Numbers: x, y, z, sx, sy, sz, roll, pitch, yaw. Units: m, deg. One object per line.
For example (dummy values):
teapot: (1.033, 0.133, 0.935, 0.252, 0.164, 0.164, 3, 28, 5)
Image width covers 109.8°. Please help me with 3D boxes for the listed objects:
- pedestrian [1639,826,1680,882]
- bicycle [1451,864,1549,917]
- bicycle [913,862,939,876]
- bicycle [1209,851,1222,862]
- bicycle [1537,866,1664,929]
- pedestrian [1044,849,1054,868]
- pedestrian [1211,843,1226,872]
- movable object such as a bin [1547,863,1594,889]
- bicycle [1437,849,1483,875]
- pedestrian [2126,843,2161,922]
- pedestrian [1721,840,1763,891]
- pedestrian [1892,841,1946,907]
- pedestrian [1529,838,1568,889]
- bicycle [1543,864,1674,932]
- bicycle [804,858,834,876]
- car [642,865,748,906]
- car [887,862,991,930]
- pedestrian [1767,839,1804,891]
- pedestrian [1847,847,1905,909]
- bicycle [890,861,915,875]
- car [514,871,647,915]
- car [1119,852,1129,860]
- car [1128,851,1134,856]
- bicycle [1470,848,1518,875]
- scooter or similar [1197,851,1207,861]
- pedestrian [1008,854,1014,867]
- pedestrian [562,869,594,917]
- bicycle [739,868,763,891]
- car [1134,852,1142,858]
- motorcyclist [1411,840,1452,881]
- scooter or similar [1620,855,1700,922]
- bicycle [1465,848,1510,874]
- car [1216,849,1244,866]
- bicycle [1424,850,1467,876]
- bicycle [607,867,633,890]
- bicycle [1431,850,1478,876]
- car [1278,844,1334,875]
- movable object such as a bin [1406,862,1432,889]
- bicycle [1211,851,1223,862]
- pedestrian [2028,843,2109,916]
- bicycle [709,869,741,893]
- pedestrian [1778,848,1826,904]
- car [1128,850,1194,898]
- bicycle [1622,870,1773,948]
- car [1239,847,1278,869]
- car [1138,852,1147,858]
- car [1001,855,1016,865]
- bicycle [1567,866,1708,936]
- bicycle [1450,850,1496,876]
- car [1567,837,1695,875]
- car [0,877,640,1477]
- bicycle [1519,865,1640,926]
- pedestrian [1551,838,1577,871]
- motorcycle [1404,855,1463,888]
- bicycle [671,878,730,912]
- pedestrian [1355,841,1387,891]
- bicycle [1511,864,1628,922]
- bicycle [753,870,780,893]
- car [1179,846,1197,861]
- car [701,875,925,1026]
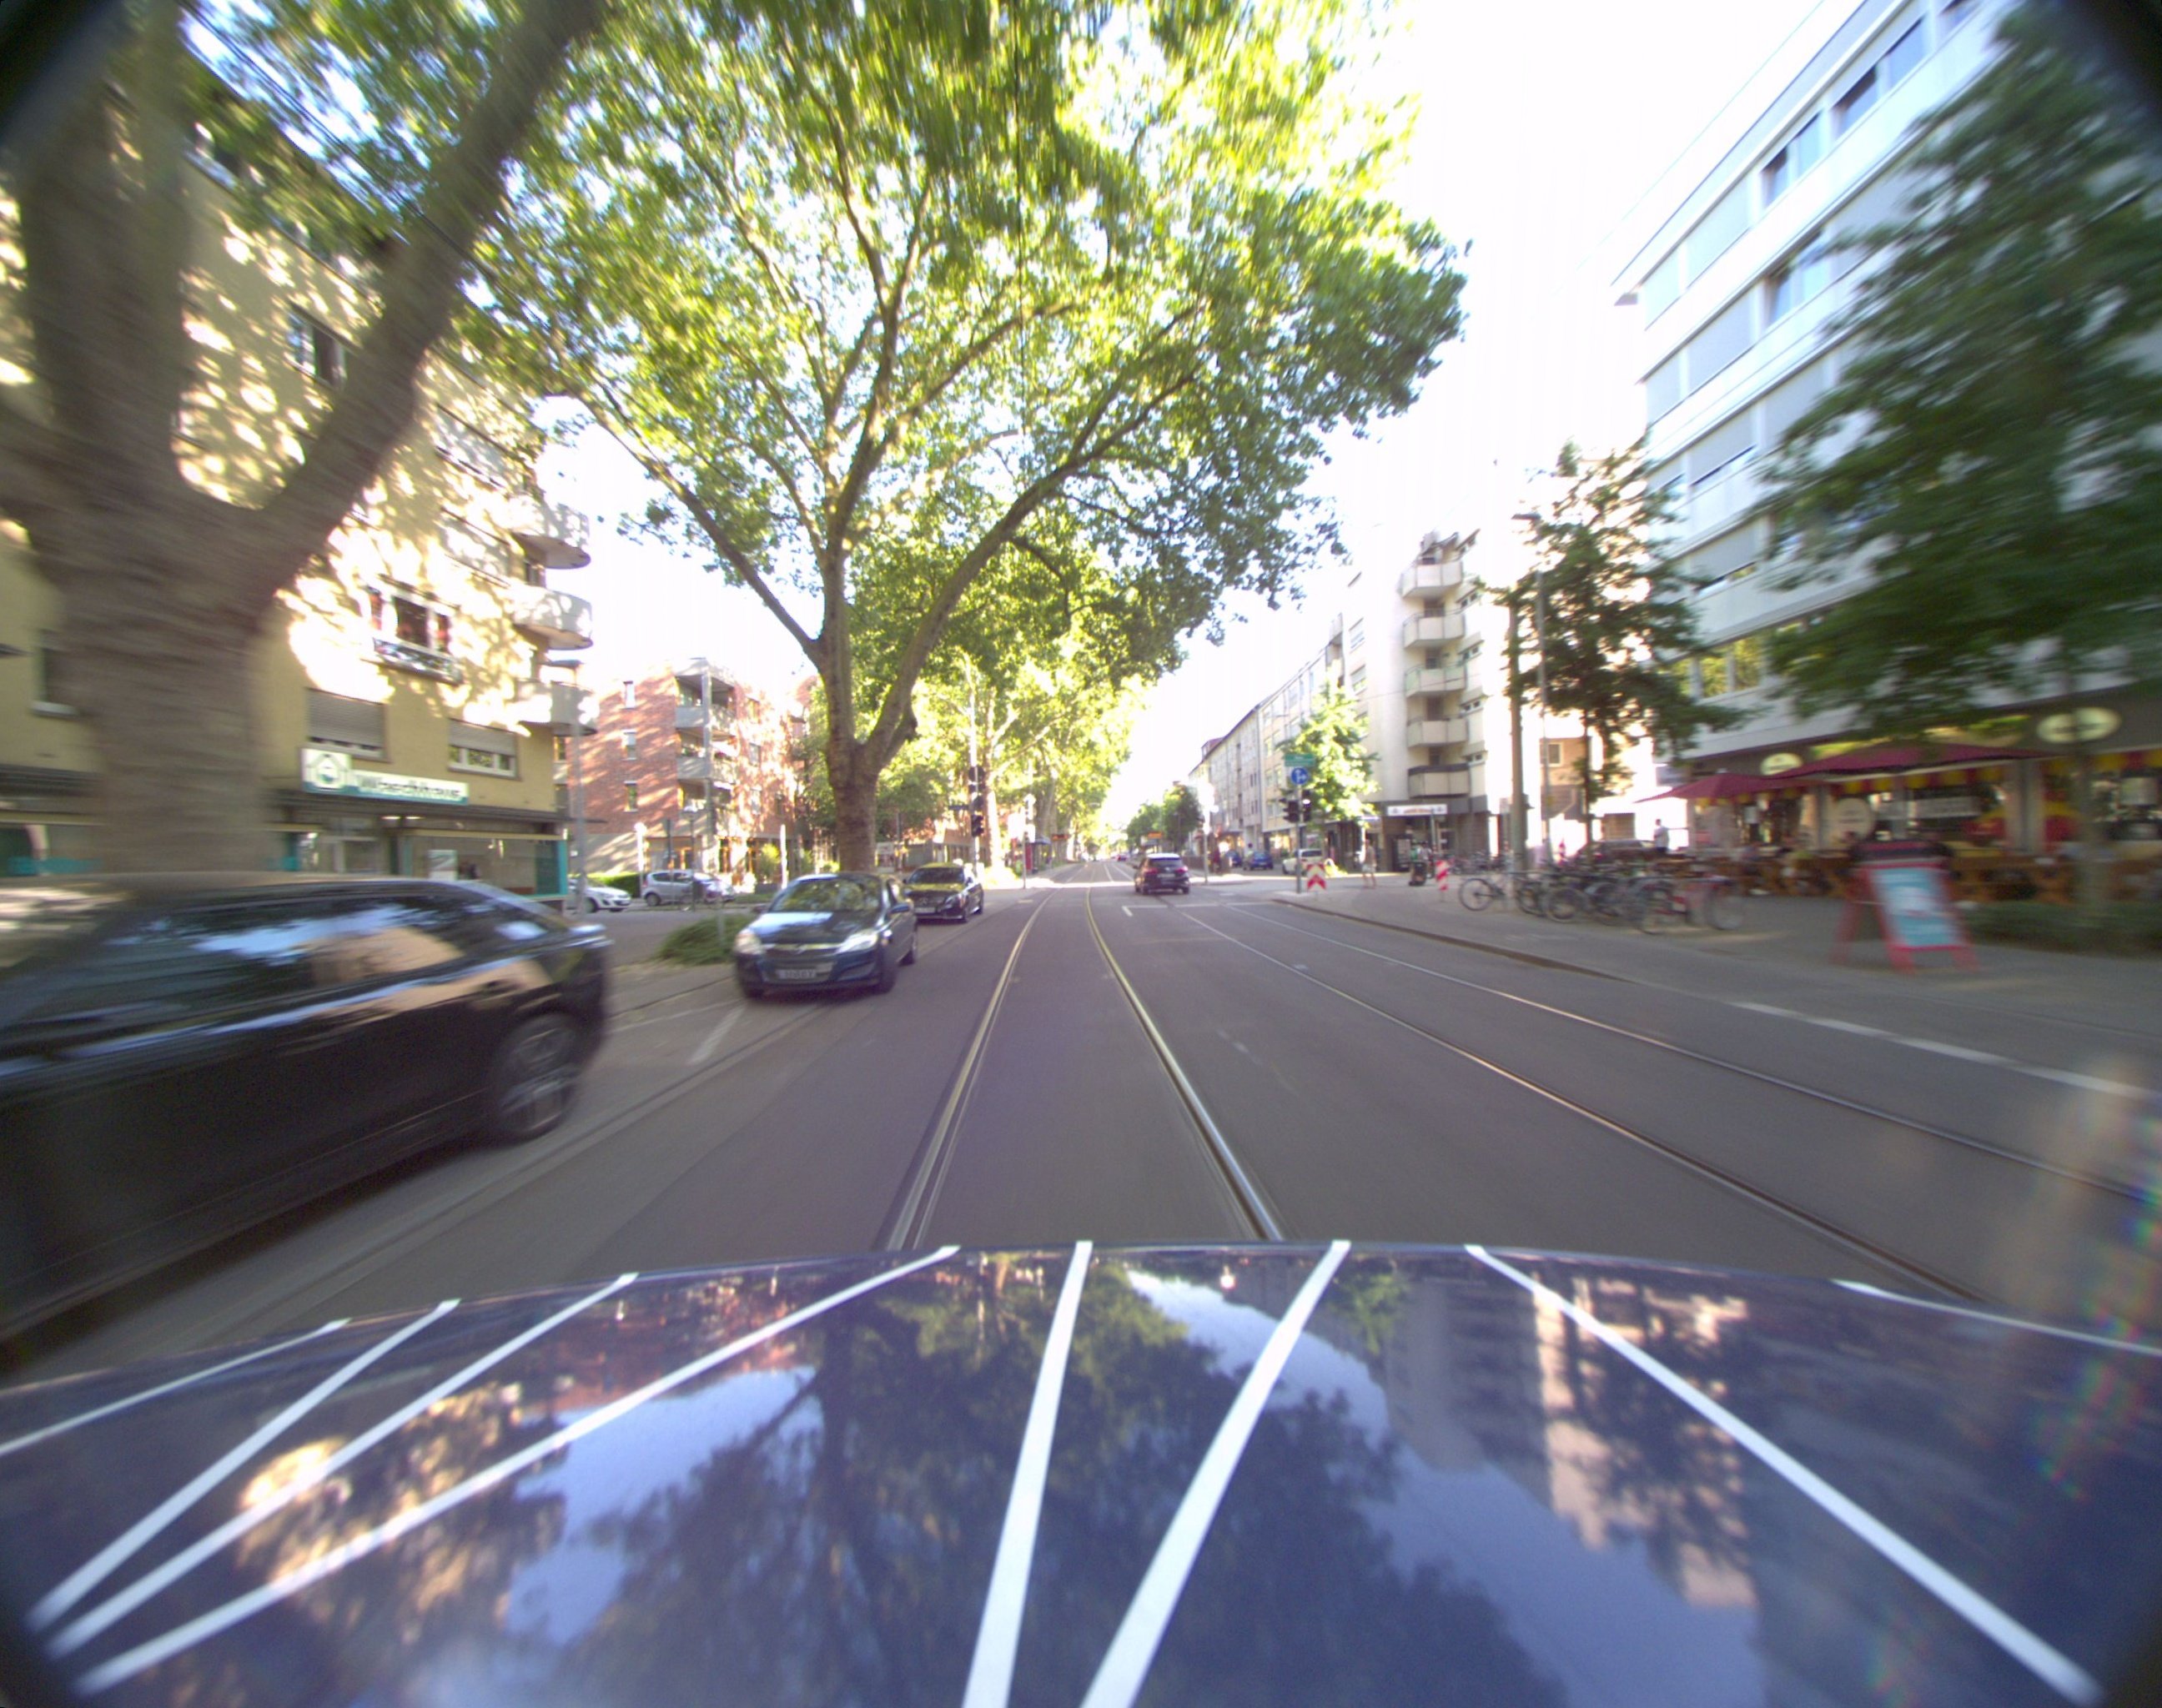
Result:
pedestrian: (17.555, -0.009, 23.074, 0.770, 1.650, 0.748, -2, 1, -31)
bicycle: (8.897, 0.762, 16.162, 1.695, 1.001, 0.658, -3, 1, -3)
bicycle: (-12.898, 1.209, 63.303, 2.036, 1.150, 0.572, 0, 1, 2)
bicycle: (15.065, 0.303, 85.127, 0.561, 1.150, 2.028, -2, 0, -14)
bicycle: (9.261, 0.762, 13.580, 1.834, 1.001, 0.658, -3, 1, -3)
pedestrian: (-2.775, 0.370, 65.865, 0.768, 1.650, 0.917, -1, 1, -2)
pedestrian: (7.720, 0.208, 42.720, 0.655, 1.576, 0.772, -2, 1, 2)
movable object such as a bin: (15.722, 0.709, 24.426, 1.197, 0.753, 0.665, -3, 1, -20)
bicycle: (17.071, 0.374, 34.276, 1.785, 1.150, 0.573, -1, 1, 32)
pedestrian: (16.678, 0.430, 11.546, 0.674, 1.191, 0.655, -1, 1, 0)
pedestrian: (15.785, 0.277, 18.151, 0.513, 1.191, 0.563, -2, 1, -15)
pedestrian: (15.672, 0.366, 14.218, 0.514, 1.191, 0.562, -2, 1, -28)
pedestrian: (14.650, 0.289, 23.829, 0.727, 1.547, 0.768, -1, 1, -4)
bicycle: (9.190, 0.747, 13.262, 1.834, 1.058, 0.658, -3, 1, -3)
bicycle: (-17.446, 0.841, 50.603, 1.930, 1.150, 0.573, 0, 1, 17)
car: (-17.665, 1.423, 34.871, 3.871, 1.683, 1.866, -1, 0, 1)
car: (-3.580, 1.008, 20.057, 1.769, 1.454, 5.012, -2, 0, 0)
pedestrian: (16.483, 0.256, 17.783, 0.565, 1.191, 0.512, -2, 1, -34)
pedestrian: (15.783, 0.470, 15.083, 0.603, 1.191, 0.690, -2, 1, -33)
bicycle: (-15.077, 1.187, 64.167, 2.035, 1.150, 0.572, 0, 1, 7)
car: (-19.029, 1.489, 29.016, 3.871, 1.542, 1.867, -1, -2, 1)
car: (9.228, 0.478, 162.767, 1.766, 1.579, 4.000, -1, 0, 0)
car: (16.582, -0.204, 252.273, 1.998, 1.521, 3.678, -1, 0, 1)
bicycle: (18.814, 0.339, 34.627, 1.786, 1.150, 0.572, -2, 1, 12)
scooter or similar: (14.744, 0.262, 92.853, 0.447, 1.167, 1.272, -2, 1, -35)
pedestrian: (-9.151, 0.866, 99.288, 0.710, 1.681, 0.749, -1, 1, 0)
pedestrian: (-16.515, 1.265, 24.957, 0.701, 1.530, 0.692, -1, 1, 42)
bicycle: (-17.516, 1.349, 40.350, 0.601, 1.150, 1.697, 0, 0, -3)
car: (15.010, 0.150, 200.741, 1.998, 1.521, 3.679, -1, 0, 4)
motorcyclist: (12.776, 0.230, 27.686, 0.877, 1.432, 1.014, -2, 1, -20)
scooter or similar: (10.804, 0.630, 14.201, 1.082, 1.169, 0.498, -3, 1, 0)
bicycle: (18.934, 0.342, 35.417, 1.789, 1.150, 0.572, -2, 1, -5)
car: (13.213, 0.303, 67.536, 1.799, 1.455, 4.282, -1, 0, 2)
bicycle: (17.416, 0.414, 36.266, 2.039, 1.150, 0.571, -2, 1, -21)
bicycle: (-24.532, 1.292, 40.454, 0.564, 1.150, 1.696, 0, 0, -9)
bicycle: (17.324, 0.433, 35.278, 1.862, 1.150, 0.572, -2, 1, 6)
car: (13.000, 0.303, 44.198, 1.882, 1.641, 4.358, -4, 0, 0)
movable object such as a bin: (12.010, 0.749, 26.999, 0.540, 0.927, 0.649, -2, 0, -15)
bicycle: (15.319, 0.285, 85.491, 0.561, 1.150, 2.028, -2, 0, -14)
pedestrian: (16.664, 0.415, 12.833, 0.563, 1.191, 0.624, -1, 1, 0)
bicycle: (-18.769, 1.410, 40.147, 0.637, 1.150, 1.983, 0, 0, 4)
pedestrian: (15.615, 0.471, 16.469, 0.512, 1.191, 0.564, -1, 1, 3)
car: (3.032, 0.745, 29.533, 1.876, 1.580, 4.146, -4, 0, -2)
bicycle: (8.984, 0.790, 11.102, 1.695, 1.001, 0.658, -3, 1, -3)
car: (13.128, 0.294, 56.305, 1.961, 1.535, 4.389, -1, 0, 2)
car: (14.622, 0.201, 181.592, 1.998, 1.521, 3.679, -1, 0, 4)
car: (-10.835, 0.850, 114.129, 1.657, 1.499, 3.961, -1, 0, 2)
bicycle: (9.087, 0.748, 12.439, 1.834, 1.001, 0.658, -3, 1, -3)
bicycle: (17.684, 0.406, 34.309, 1.785, 1.150, 0.573, -1, 1, 32)
car: (24.389, 0.070, 33.801, 4.291, 1.495, 1.895, -2, 0, 2)
car: (-4.078, 1.008, 2.995, 1.862, 1.594, 4.781, 0, 1, 0)
bicycle: (9.309, 0.761, 14.226, 1.834, 1.001, 0.658, -3, 1, -3)
pedestrian: (22.750, 0.018, 35.794, 0.727, 1.547, 0.725, -2, 1, -5)
motorcycle: (12.798, 0.624, 27.637, 0.852, 1.157, 1.912, -2, 0, -20)
bicycle: (-13.504, 1.447, 27.003, 1.799, 1.150, 0.744, 0, 1, -20)
pedestrian: (9.947, 0.409, 26.077, 0.759, 1.661, 0.768, -1, 1, -4)
bicycle: (9.411, 0.736, 14.664, 1.834, 1.001, 0.658, -3, 1, -3)
bicycle: (-16.430, 1.408, 39.697, 0.601, 1.150, 1.698, 0, 0, 4)
car: (14.273, -0.112, 101.168, 1.808, 1.923, 4.049, -1, 0, 0)
car: (-3.252, 1.070, 10.141, 1.870, 1.429, 4.223, -1, 0, -6)
